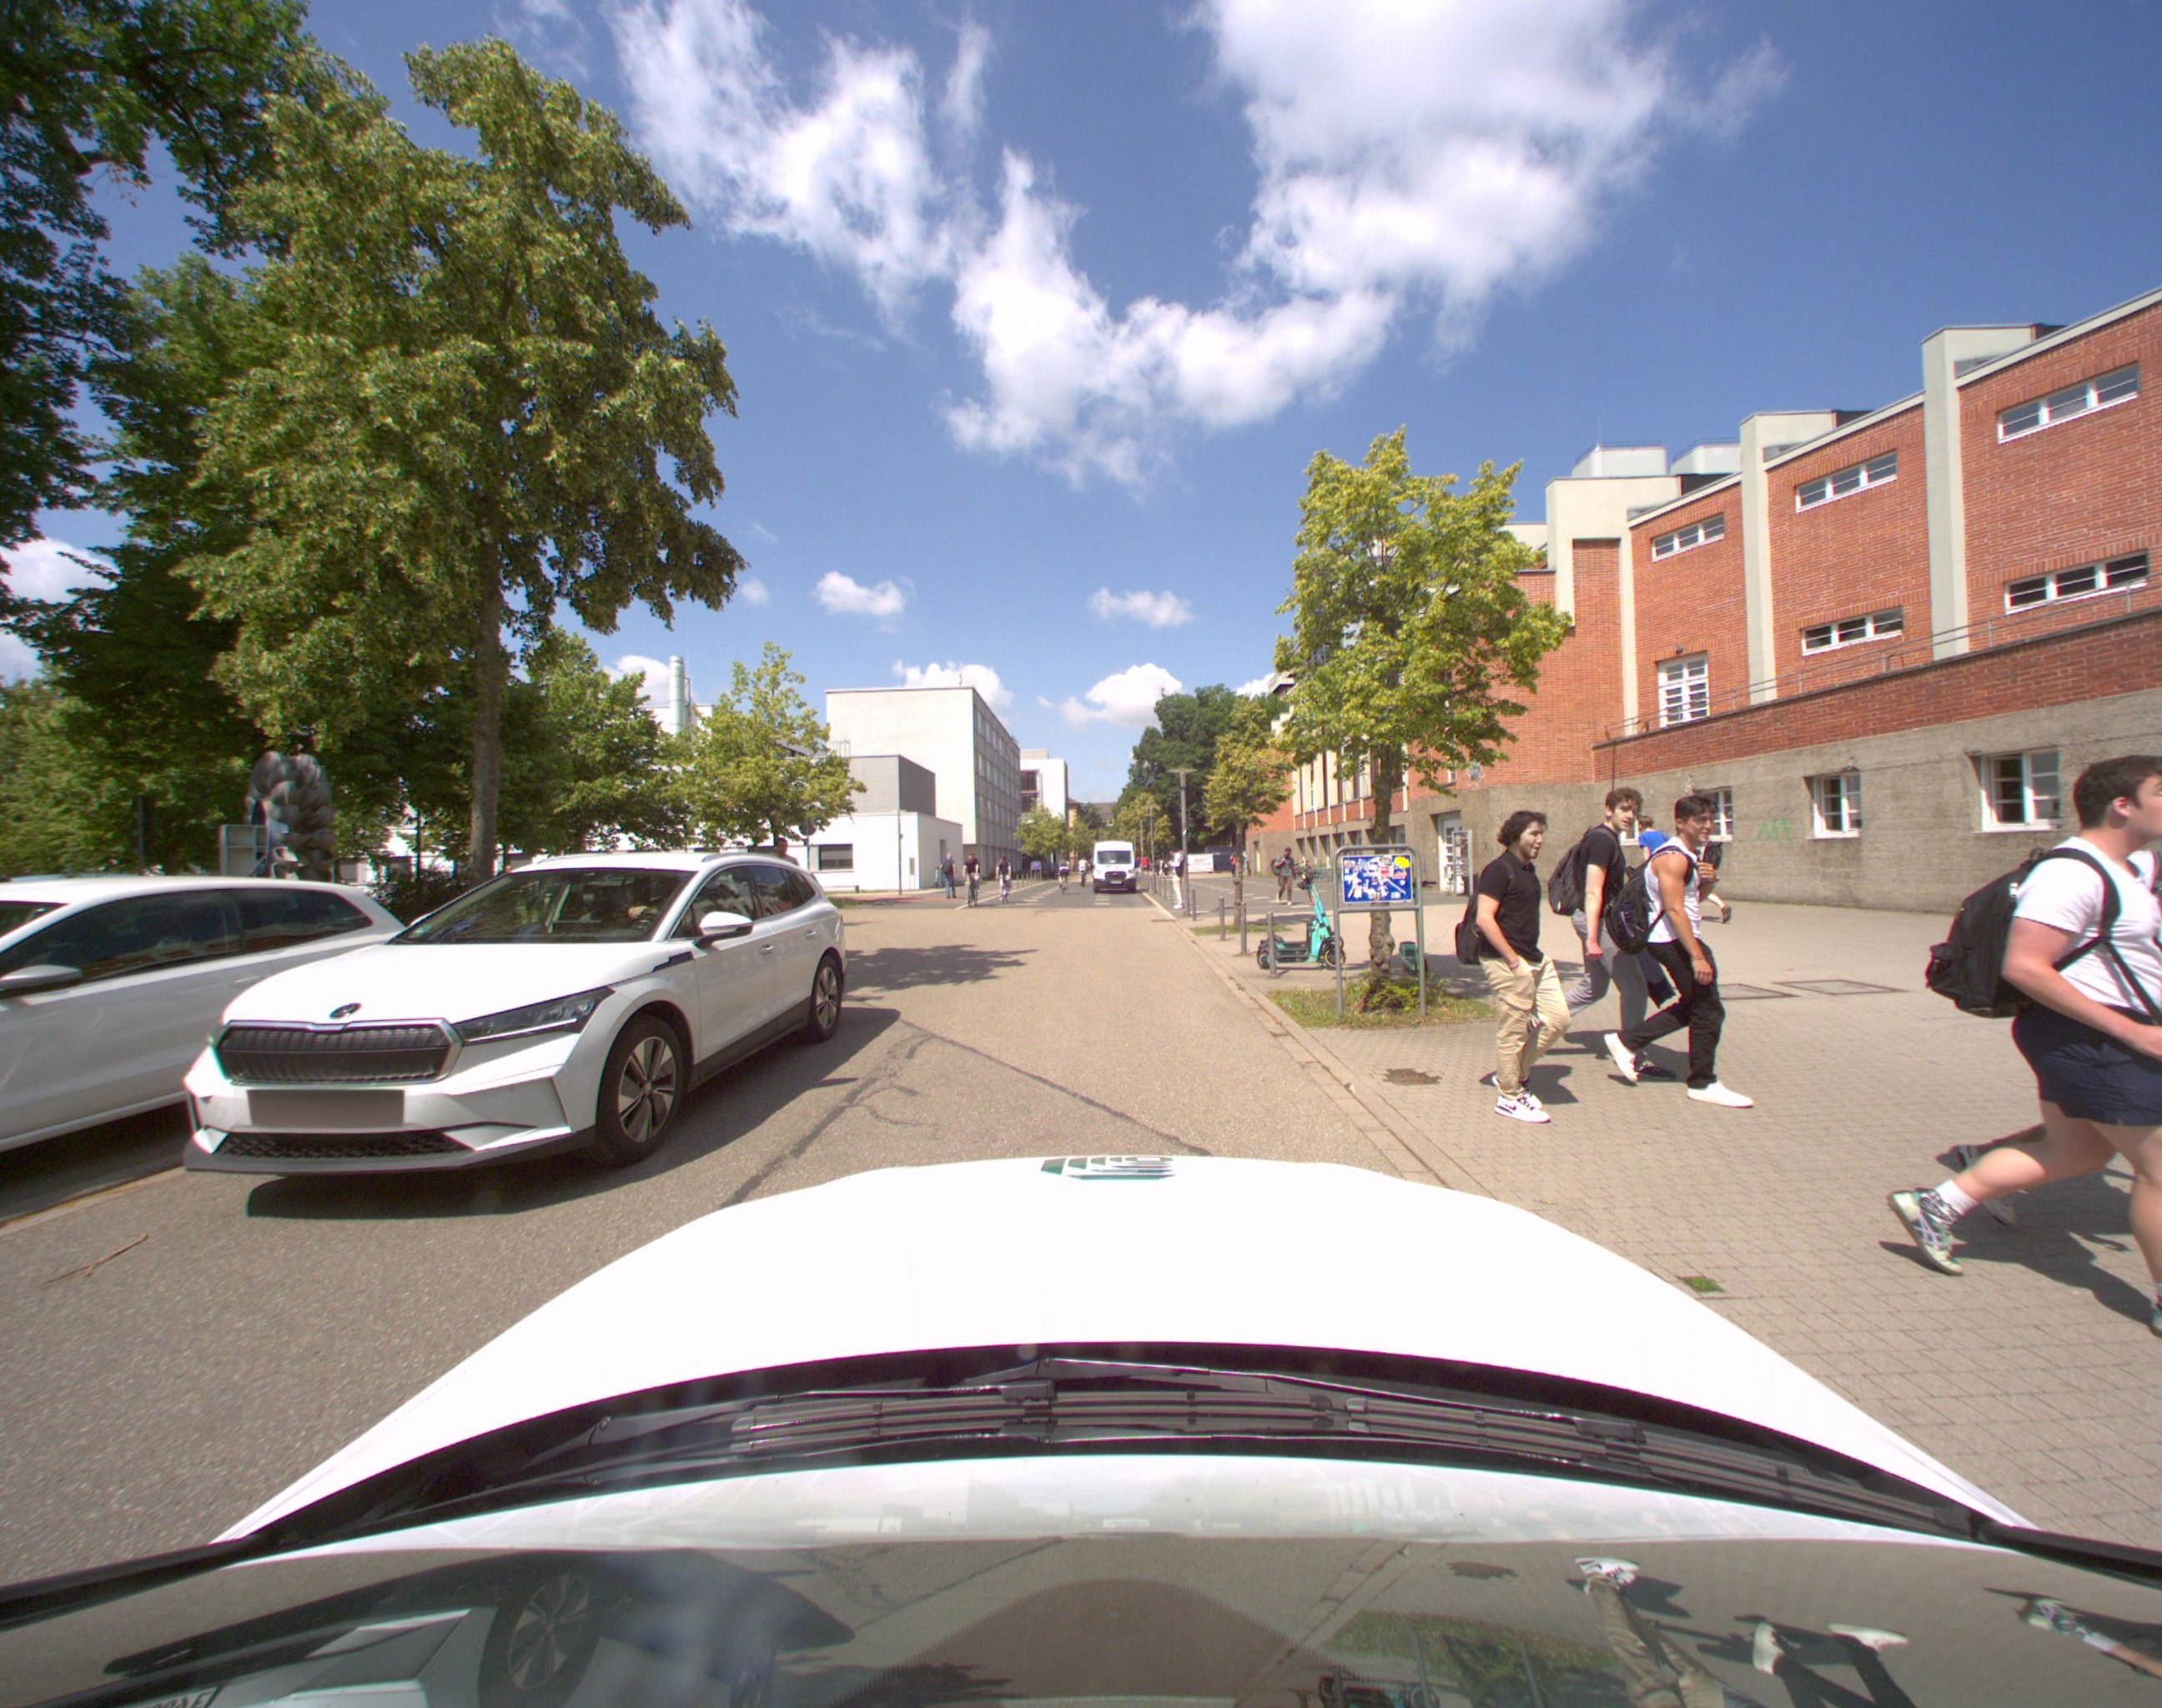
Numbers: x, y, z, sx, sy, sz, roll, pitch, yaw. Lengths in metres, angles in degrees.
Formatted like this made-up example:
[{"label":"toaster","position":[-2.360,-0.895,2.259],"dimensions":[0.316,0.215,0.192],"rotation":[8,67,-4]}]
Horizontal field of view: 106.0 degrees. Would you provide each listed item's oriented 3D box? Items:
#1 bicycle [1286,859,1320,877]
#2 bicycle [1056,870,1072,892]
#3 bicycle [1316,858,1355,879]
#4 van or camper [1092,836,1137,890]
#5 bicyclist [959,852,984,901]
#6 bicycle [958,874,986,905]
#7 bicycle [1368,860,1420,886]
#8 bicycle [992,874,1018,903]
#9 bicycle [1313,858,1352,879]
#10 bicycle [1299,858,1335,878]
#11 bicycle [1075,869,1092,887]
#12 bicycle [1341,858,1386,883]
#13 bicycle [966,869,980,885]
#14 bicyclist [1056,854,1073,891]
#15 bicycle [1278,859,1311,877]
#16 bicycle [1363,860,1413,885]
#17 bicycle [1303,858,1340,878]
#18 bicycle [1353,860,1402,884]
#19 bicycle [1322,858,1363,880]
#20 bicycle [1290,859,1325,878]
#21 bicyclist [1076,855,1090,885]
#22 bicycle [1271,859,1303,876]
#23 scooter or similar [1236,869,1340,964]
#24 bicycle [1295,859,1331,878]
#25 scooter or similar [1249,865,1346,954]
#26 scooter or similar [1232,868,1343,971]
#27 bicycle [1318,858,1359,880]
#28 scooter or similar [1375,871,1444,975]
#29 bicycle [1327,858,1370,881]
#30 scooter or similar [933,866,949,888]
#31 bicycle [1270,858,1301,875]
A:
[{"label":"bicycle","position":[12.853,0.810,47.233],"dimensions":[1.803,0.985,0.560],"rotation":[-3,-1,1]},{"label":"bicycle","position":[-0.780,1.263,37.746],"dimensions":[0.705,0.993,1.908],"rotation":[0,-2,-2]},{"label":"bicycle","position":[12.968,0.750,41.503],"dimensions":[1.803,0.985,0.560],"rotation":[-3,-1,1]},{"label":"van or camper","position":[1.557,0.472,39.322],"dimensions":[1.987,2.446,4.569],"rotation":[0,-1,1]},{"label":"bicyclist","position":[-3.633,0.741,27.064],"dimensions":[0.641,1.601,0.909],"rotation":[-2,-1,1]},{"label":"bicycle","position":[-3.622,1.178,27.150],"dimensions":[0.675,0.965,2.002],"rotation":[0,-1,0]},{"label":"bicycle","position":[12.330,0.752,32.146],"dimensions":[1.803,0.912,0.560],"rotation":[-3,-1,1]},{"label":"bicycle","position":[-2.699,1.216,29.142],"dimensions":[0.674,0.965,2.003],"rotation":[0,-1,1]},{"label":"bicycle","position":[13.004,0.758,42.144],"dimensions":[1.803,0.985,0.560],"rotation":[-3,-1,1]},{"label":"bicycle","position":[13.138,0.781,45.300],"dimensions":[1.803,0.985,0.560],"rotation":[-3,-1,1]},{"label":"bicycle","position":[0.164,1.466,50.415],"dimensions":[0.804,1.002,2.127],"rotation":[-1,1,5]},{"label":"bicycle","position":[12.600,0.727,36.355],"dimensions":[1.803,0.985,0.560],"rotation":[-3,-1,1]},{"label":"bicycle","position":[-7.160,1.516,54.031],"dimensions":[0.520,0.985,1.635],"rotation":[-3,-1,6]},{"label":"bicyclist","position":[-0.762,0.878,37.522],"dimensions":[0.715,1.662,1.094],"rotation":[1,-2,-2]},{"label":"bicycle","position":[12.795,0.819,48.770],"dimensions":[1.803,0.985,0.560],"rotation":[-3,-1,1]},{"label":"bicycle","position":[12.436,0.750,33.000],"dimensions":[1.803,0.912,0.560],"rotation":[-3,-1,1]},{"label":"bicycle","position":[13.200,0.773,44.688],"dimensions":[1.803,0.985,0.560],"rotation":[-3,-1,1]},{"label":"bicycle","position":[12.518,0.770,34.404],"dimensions":[1.803,0.912,0.560],"rotation":[-3,-1,1]},{"label":"bicycle","position":[12.949,0.751,40.313],"dimensions":[1.803,0.985,0.560],"rotation":[-3,-1,1]},{"label":"bicycle","position":[12.952,0.805,46.500],"dimensions":[1.803,0.985,0.560],"rotation":[-3,-1,1]},{"label":"bicyclist","position":[0.124,0.990,50.554],"dimensions":[0.767,1.756,0.849],"rotation":[3,0,4]},{"label":"bicycle","position":[12.940,0.828,51.105],"dimensions":[1.803,0.985,0.560],"rotation":[-3,-1,1]},{"label":"scooter or similar","position":[2.934,0.861,11.581],"dimensions":[1.248,1.265,0.655],"rotation":[-2,-1,34]},{"label":"bicycle","position":[13.076,0.797,45.890],"dimensions":[1.803,0.985,0.560],"rotation":[-3,-1,1]},{"label":"scooter or similar","position":[3.284,0.827,12.387],"dimensions":[1.248,1.265,0.644],"rotation":[-2,-1,34]},{"label":"scooter or similar","position":[2.736,0.845,10.812],"dimensions":[1.248,1.265,0.655],"rotation":[-2,-1,34]},{"label":"bicycle","position":[12.933,0.751,40.916],"dimensions":[1.803,0.985,0.560],"rotation":[-3,-1,1]},{"label":"scooter or similar","position":[4.001,0.807,10.003],"dimensions":[0.643,1.160,1.270],"rotation":[-2,-1,17]},{"label":"bicycle","position":[12.503,0.732,38.089],"dimensions":[1.803,0.985,0.560],"rotation":[-3,-1,1]},{"label":"scooter or similar","position":[-8.041,1.300,46.715],"dimensions":[0.374,1.216,1.211],"rotation":[-2,-1,18]},{"label":"bicycle","position":[13.043,0.821,52.067],"dimensions":[1.803,0.985,0.560],"rotation":[-3,-1,1]}]
